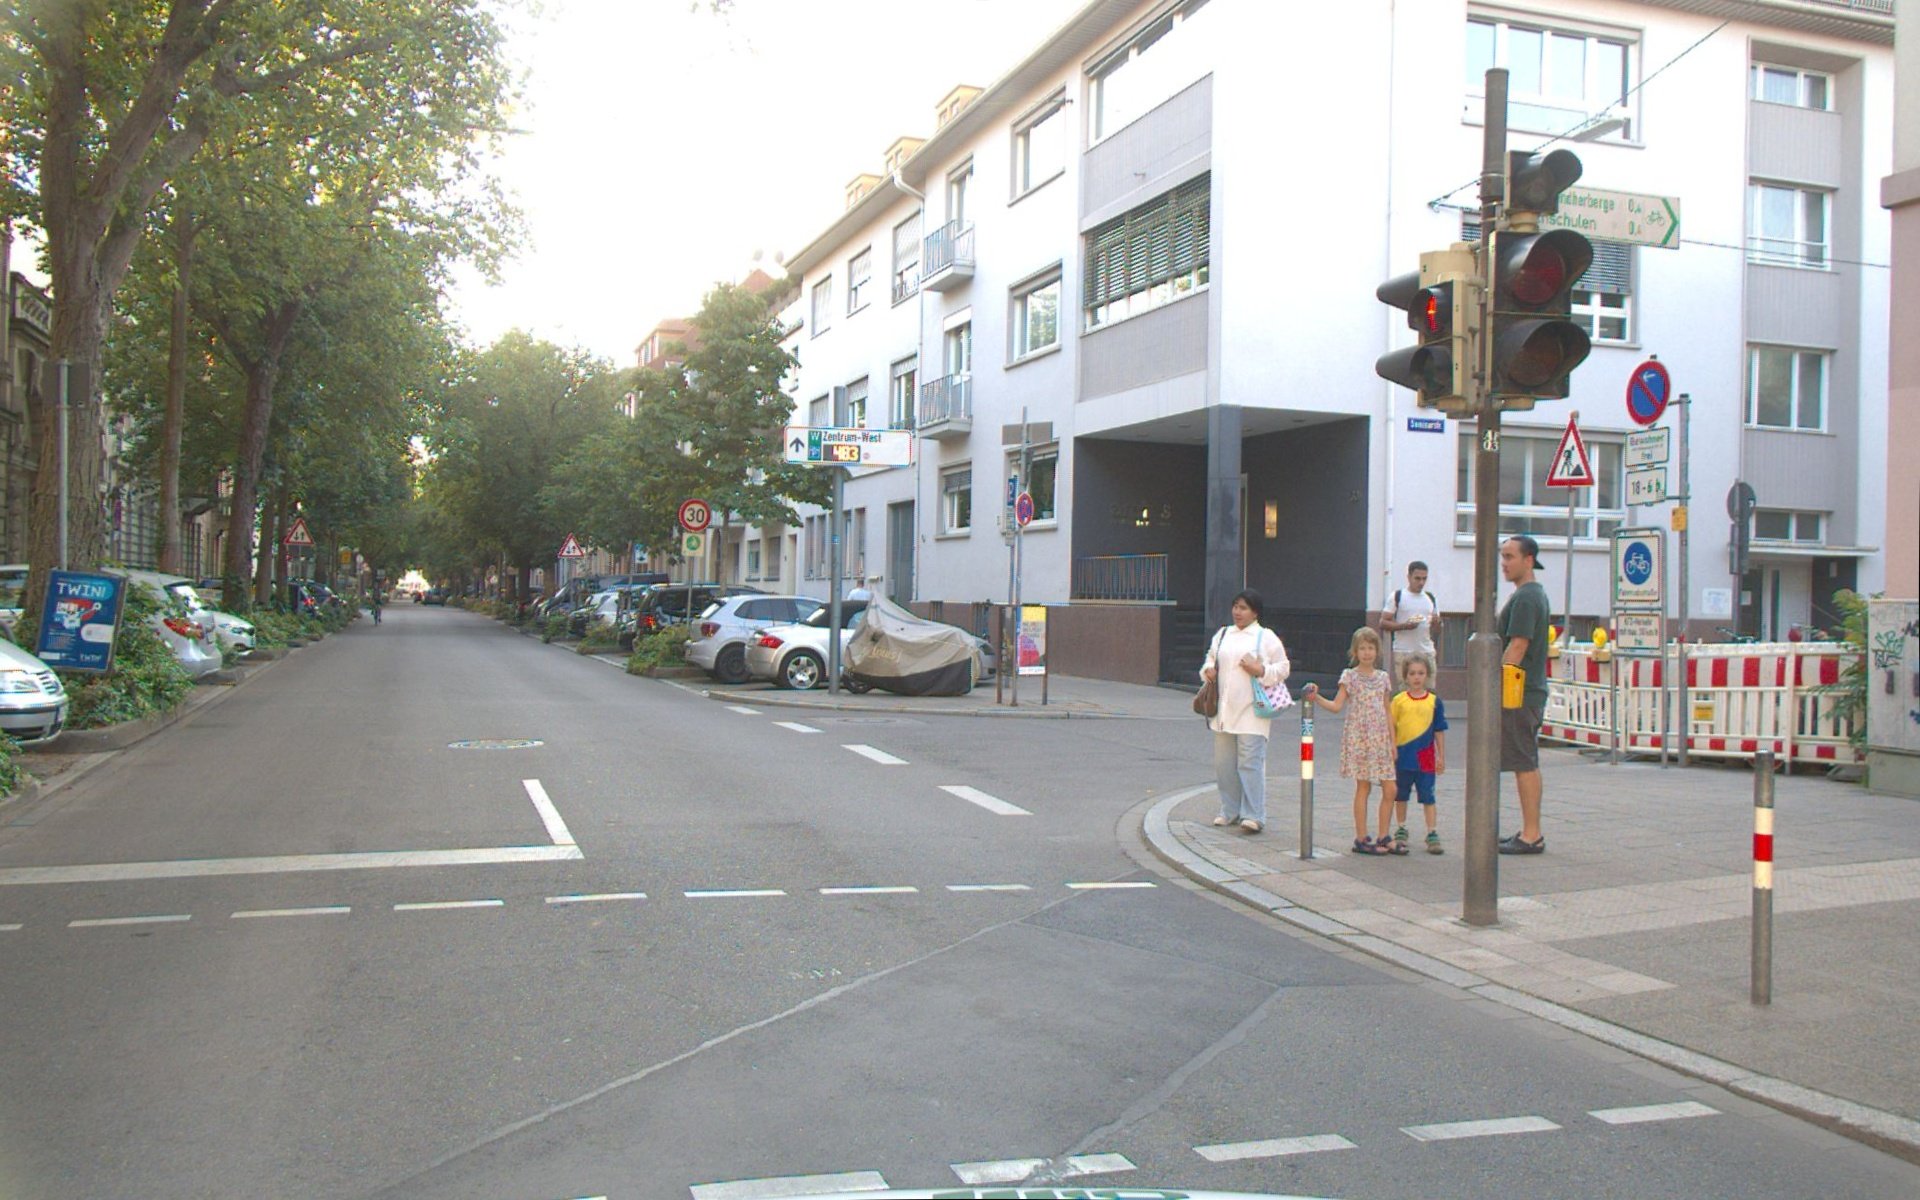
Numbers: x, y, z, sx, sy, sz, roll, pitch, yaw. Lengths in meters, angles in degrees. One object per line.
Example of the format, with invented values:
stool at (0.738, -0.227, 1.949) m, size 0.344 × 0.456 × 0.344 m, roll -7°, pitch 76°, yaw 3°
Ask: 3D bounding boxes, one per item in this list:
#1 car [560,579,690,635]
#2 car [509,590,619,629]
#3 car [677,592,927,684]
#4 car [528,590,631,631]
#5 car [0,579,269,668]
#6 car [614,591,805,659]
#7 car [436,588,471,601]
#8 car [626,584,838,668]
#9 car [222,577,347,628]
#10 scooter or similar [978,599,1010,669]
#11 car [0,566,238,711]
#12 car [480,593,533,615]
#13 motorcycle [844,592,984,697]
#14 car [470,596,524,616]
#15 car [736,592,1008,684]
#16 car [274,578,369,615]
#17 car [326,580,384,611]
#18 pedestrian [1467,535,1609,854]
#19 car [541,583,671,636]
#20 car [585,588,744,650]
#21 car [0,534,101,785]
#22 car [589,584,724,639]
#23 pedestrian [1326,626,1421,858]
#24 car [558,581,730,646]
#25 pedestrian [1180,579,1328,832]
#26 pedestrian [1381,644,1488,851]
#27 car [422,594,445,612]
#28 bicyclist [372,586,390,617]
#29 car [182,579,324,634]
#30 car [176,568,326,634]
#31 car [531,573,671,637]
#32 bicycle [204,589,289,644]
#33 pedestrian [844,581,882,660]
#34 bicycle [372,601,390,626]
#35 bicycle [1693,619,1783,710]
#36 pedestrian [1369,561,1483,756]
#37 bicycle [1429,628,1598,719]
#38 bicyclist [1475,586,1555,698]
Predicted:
car at (-10.899, 0.209, 53.774) m, size 3.907 × 1.606 × 1.840 m, roll -3°, pitch 1°, yaw -20°
car at (-16.917, 0.386, 70.691) m, size 4.338 × 1.418 × 1.874 m, roll -3°, pitch 1°, yaw -21°
car at (-2.685, 0.634, 27.986) m, size 3.926 × 1.463 × 1.785 m, roll 1°, pitch 0°, yaw -19°
car at (-15.802, 0.418, 68.604) m, size 3.930 × 1.462 × 1.915 m, roll -3°, pitch 1°, yaw -21°
car at (-14.463, 0.401, 28.542) m, size 4.441 × 1.415 × 1.907 m, roll 1°, pitch -1°, yaw -17°
car at (-5.965, 0.562, 39.321) m, size 4.251 × 1.522 × 1.784 m, roll 0°, pitch 0°, yaw -20°
car at (-63.767, -0.650, 208.168) m, size 4.204 × 1.593 × 1.952 m, roll -1°, pitch 0°, yaw -19°
car at (-4.700, 0.532, 33.997) m, size 4.046 × 1.646 × 1.951 m, roll 1°, pitch 0°, yaw -19°
car at (-25.107, 0.088, 61.627) m, size 4.137 × 1.701 × 1.897 m, roll 3°, pitch 0°, yaw -19°
scooter or similar at (0.630, 0.626, 30.872) m, size 0.339 × 1.261 × 1.418 m, roll 1°, pitch 0°, yaw -9°
car at (-10.687, 0.416, 19.036) m, size 4.103 × 1.584 × 1.818 m, roll 2°, pitch -1°, yaw -17°
car at (-31.659, 0.285, 115.368) m, size 3.433 × 1.478 × 1.888 m, roll 0°, pitch 0°, yaw -21°
motorcycle at (-0.650, 0.605, 22.883) m, size 1.870 × 1.417 × 0.998 m, roll 0°, pitch 0°, yaw -6°
car at (-35.698, 0.471, 127.534) m, size 3.823 × 1.465 × 1.835 m, roll 0°, pitch 0°, yaw -22°
car at (-1.392, 0.581, 25.669) m, size 3.922 × 1.356 × 1.786 m, roll 1°, pitch 0°, yaw -16°
car at (-32.574, -0.195, 84.539) m, size 4.357 × 1.680 × 1.863 m, roll 3°, pitch 0°, yaw -18°
car at (-53.017, -0.383, 145.050) m, size 4.611 × 2.521 × 1.989 m, roll 1°, pitch -1°, yaw -19°
pedestrian at (3.389, 0.531, 9.724) m, size 0.534 × 1.805 × 0.573 m, roll -1°, pitch 0°, yaw -17°
car at (-12.172, 0.297, 56.766) m, size 4.096 × 1.606 × 1.958 m, roll -3°, pitch 1°, yaw -21°
car at (-7.982, 0.497, 44.643) m, size 4.010 × 1.454 × 1.809 m, roll -3°, pitch 1°, yaw -17°
car at (-8.746, 0.308, 11.783) m, size 4.361 × 1.752 × 1.879 m, roll 3°, pitch -1°, yaw -21°
car at (-9.109, 0.341, 49.591) m, size 3.737 × 1.448 × 1.687 m, roll -3°, pitch 1°, yaw -20°
pedestrian at (2.375, 0.804, 9.526) m, size 0.478 × 1.283 × 0.452 m, roll -1°, pitch 0°, yaw 9°
car at (-8.967, 0.353, 46.905) m, size 4.523 × 1.606 × 1.933 m, roll -3°, pitch 1°, yaw -20°
pedestrian at (1.881, 0.645, 10.590) m, size 0.708 × 1.538 × 0.596 m, roll -1°, pitch 1°, yaw 42°
pedestrian at (2.791, 0.855, 9.763) m, size 0.532 × 1.165 × 0.493 m, roll -1°, pitch 0°, yaw 9°
car at (-48.434, 0.261, 152.151) m, size 1.927 × 1.593 × 4.259 m, roll -1°, pitch 0°, yaw -18°
bicyclist at (-24.010, 0.047, 68.605) m, size 0.662 × 1.286 × 0.644 m, roll 1°, pitch 0°, yaw -19°
car at (-22.476, 0.200, 52.723) m, size 3.904 × 1.411 × 1.756 m, roll 5°, pitch -1°, yaw -18°
car at (-21.295, 0.053, 49.828) m, size 3.905 × 1.624 × 1.771 m, roll 5°, pitch -2°, yaw -19°
car at (-12.824, 0.148, 59.066) m, size 4.620 × 2.046 × 2.026 m, roll -3°, pitch 1°, yaw -20°
bicycle at (-16.917, 0.397, 39.246) m, size 1.741 × 1.254 × 0.498 m, roll 2°, pitch -2°, yaw -14°
pedestrian at (-2.280, 0.485, 38.826) m, size 0.686 × 1.826 × 0.876 m, roll 1°, pitch 0°, yaw -18°
bicycle at (-24.016, 0.547, 68.593) m, size 0.662 × 1.011 × 1.749 m, roll 1°, pitch 0°, yaw -18°
bicycle at (11.348, 0.921, 24.099) m, size 1.779 × 1.261 × 0.525 m, roll 1°, pitch 0°, yaw -42°
pedestrian at (4.672, 0.560, 16.623) m, size 0.685 × 1.887 × 1.046 m, roll 0°, pitch 0°, yaw -14°
bicycle at (7.132, 0.945, 21.368) m, size 1.930 × 1.048 × 0.674 m, roll 3°, pitch -2°, yaw 0°
bicyclist at (7.160, 0.547, 21.375) m, size 0.758 × 1.387 × 0.674 m, roll 3°, pitch -2°, yaw 0°
